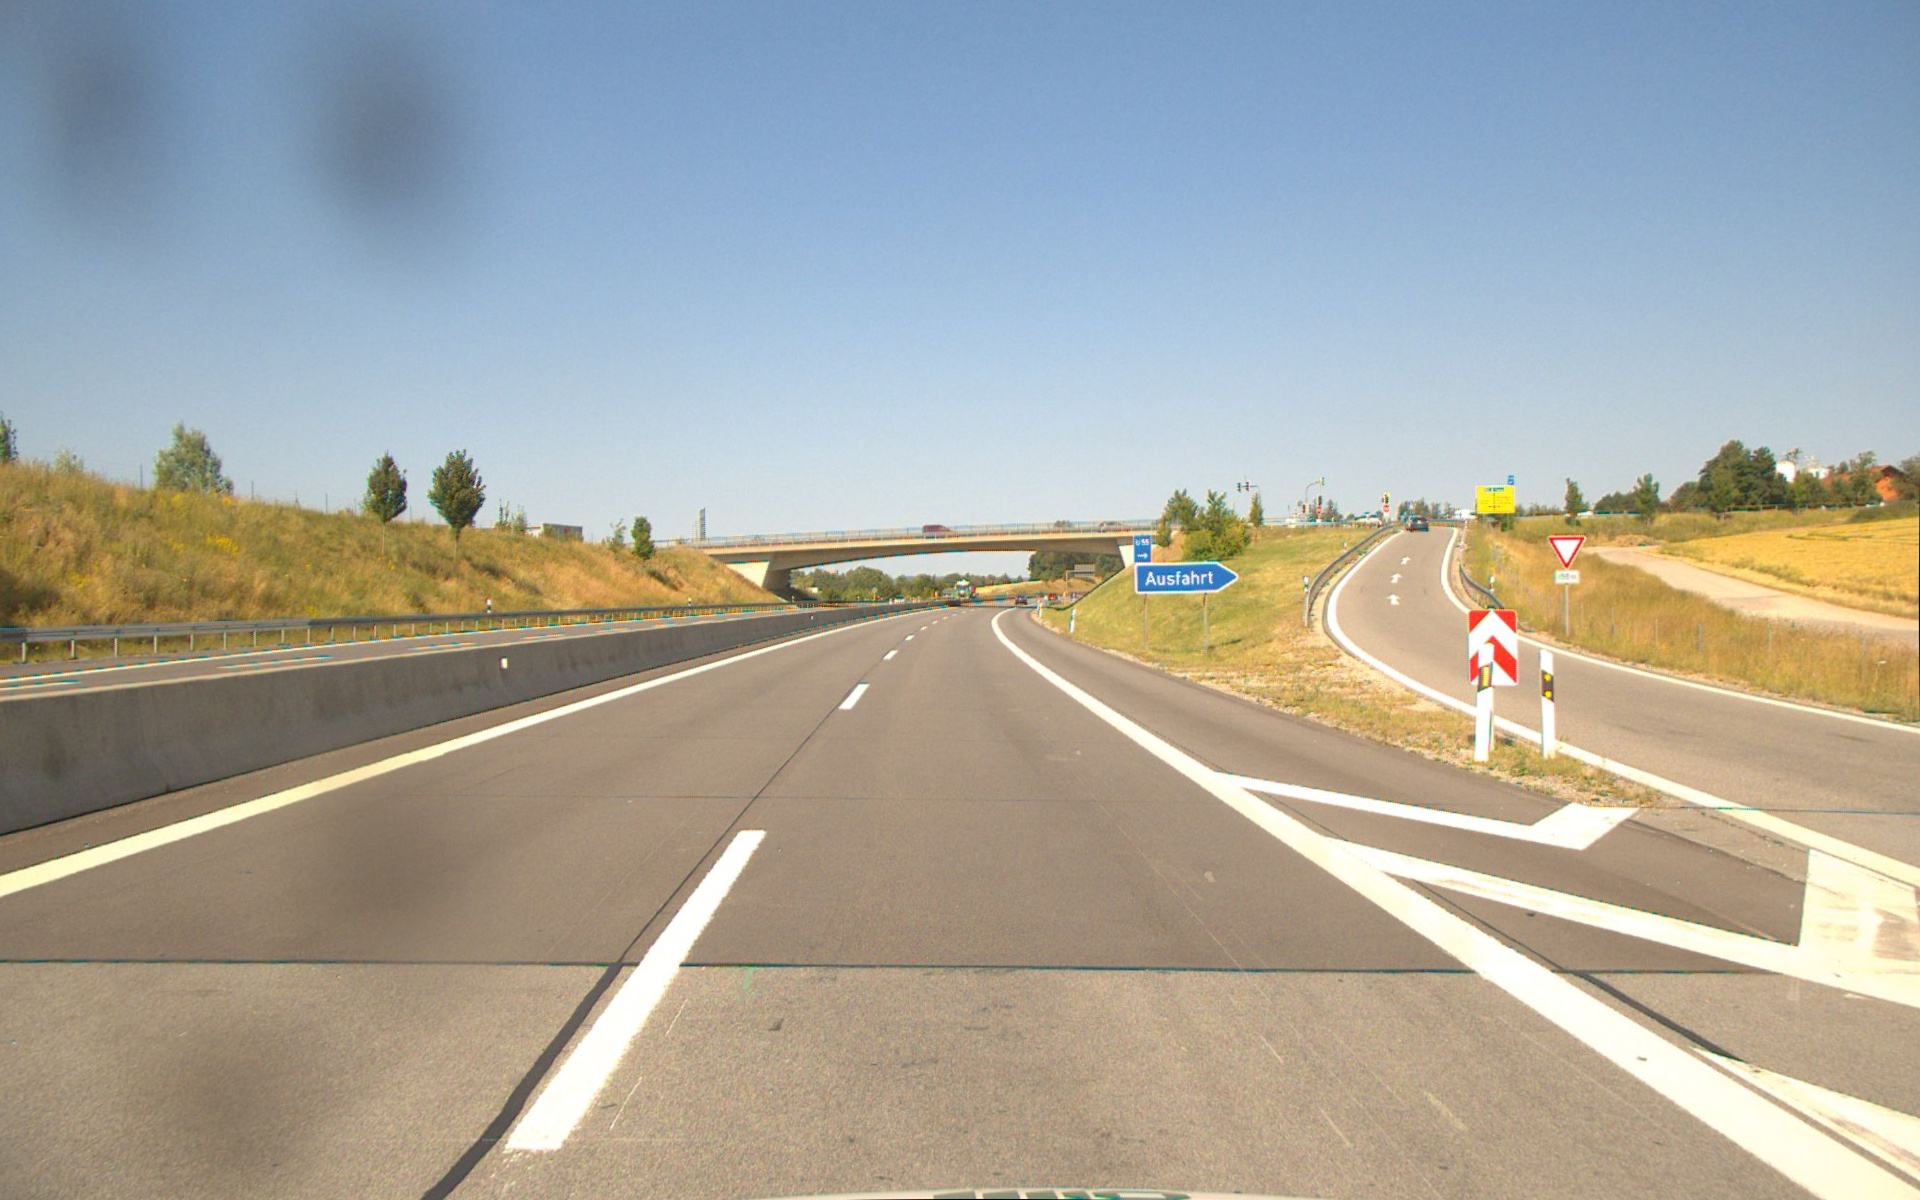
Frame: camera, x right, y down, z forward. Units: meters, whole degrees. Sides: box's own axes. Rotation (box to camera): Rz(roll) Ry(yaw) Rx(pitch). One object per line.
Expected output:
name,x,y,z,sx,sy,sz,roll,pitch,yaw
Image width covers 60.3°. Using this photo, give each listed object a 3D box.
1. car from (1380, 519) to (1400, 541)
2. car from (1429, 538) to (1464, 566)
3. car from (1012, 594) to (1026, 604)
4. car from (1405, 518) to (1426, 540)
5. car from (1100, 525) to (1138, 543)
car,44.350,-7.249,170.711,1.951,2.049,4.003,-2,0,15
car,30.842,-3.004,104.946,1.951,1.646,4.003,-2,0,15
car,8.901,-0.154,248.995,1.953,1.445,3.999,-2,0,-1
car,44.812,-6.970,162.788,1.951,2.049,4.003,-2,0,15
car,19.227,-7.962,199.848,4.166,2.056,1.998,-2,0,-6
